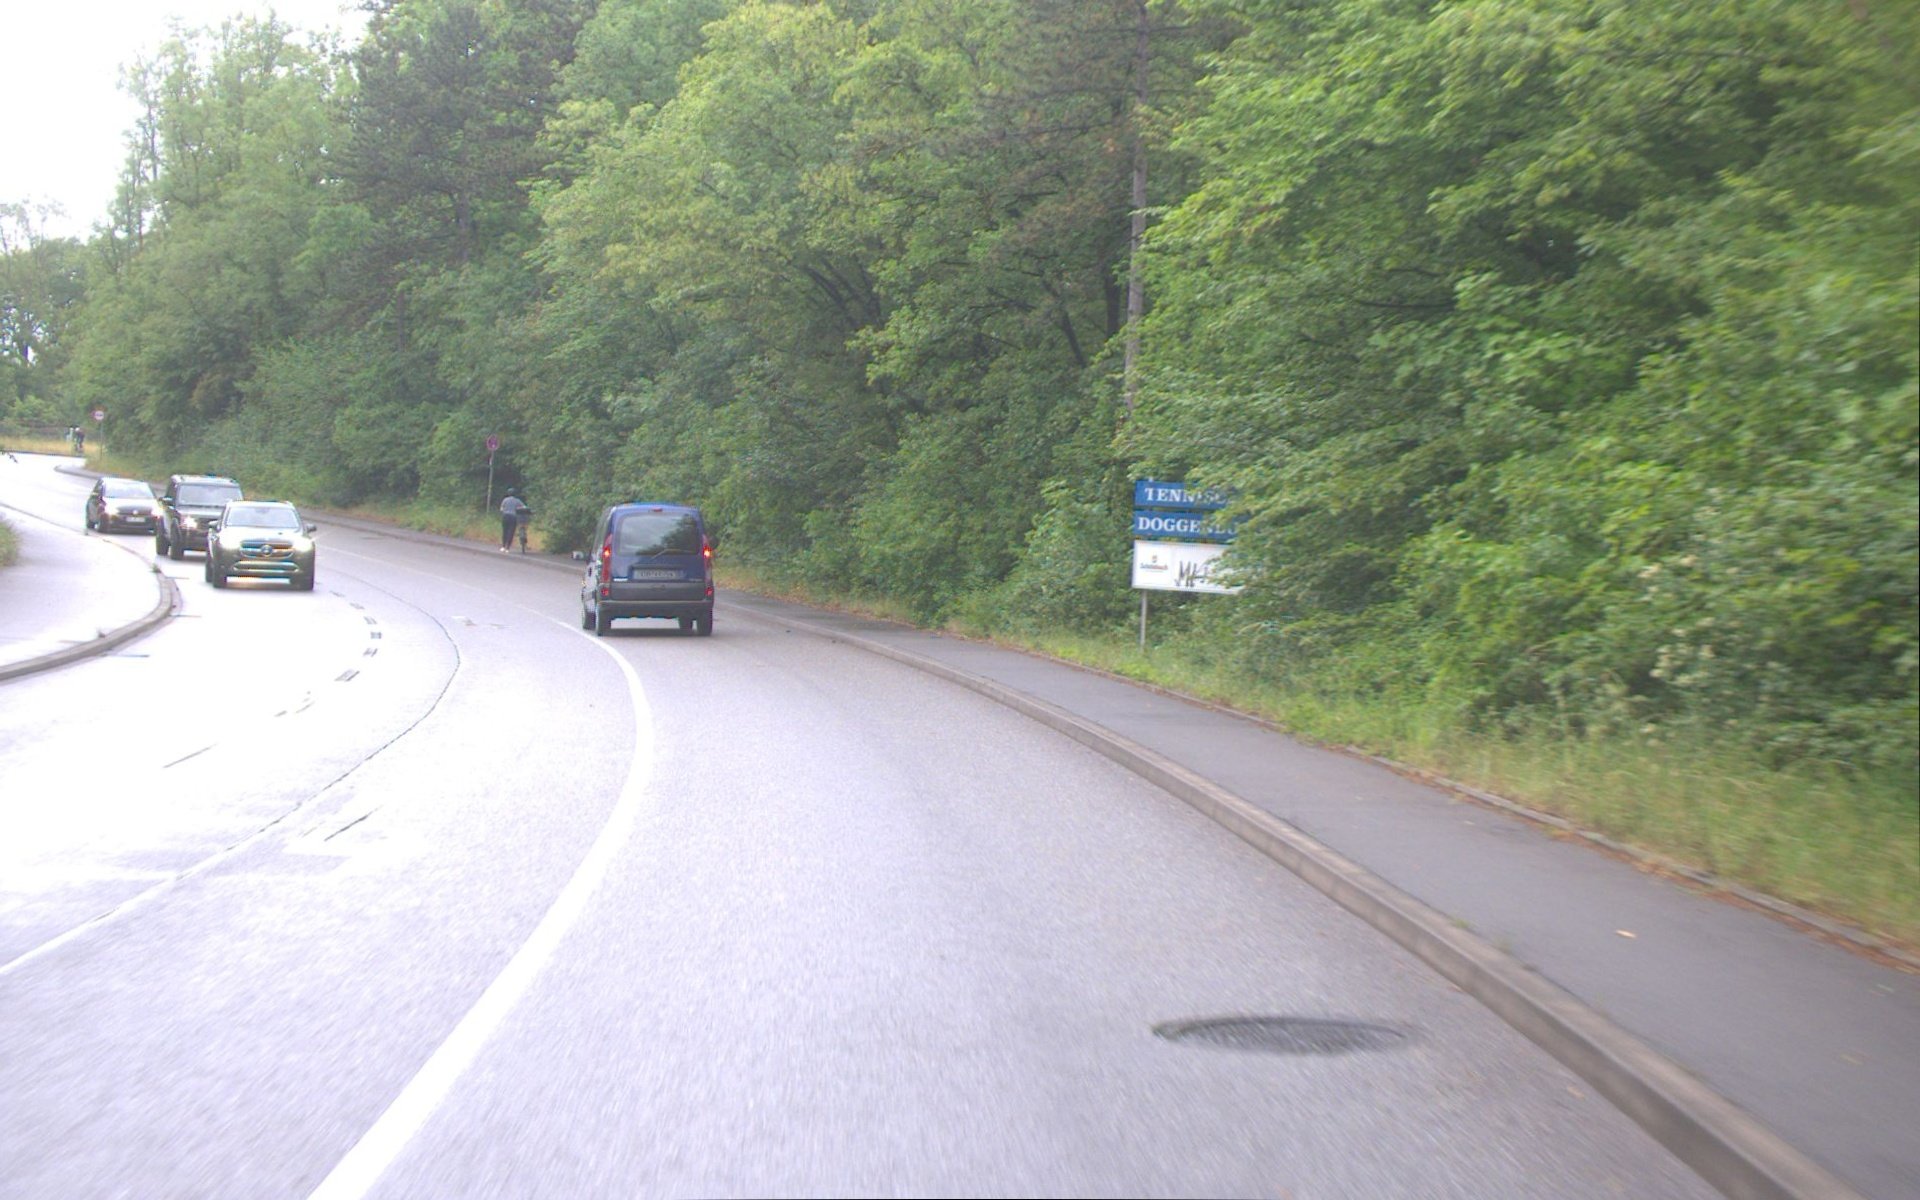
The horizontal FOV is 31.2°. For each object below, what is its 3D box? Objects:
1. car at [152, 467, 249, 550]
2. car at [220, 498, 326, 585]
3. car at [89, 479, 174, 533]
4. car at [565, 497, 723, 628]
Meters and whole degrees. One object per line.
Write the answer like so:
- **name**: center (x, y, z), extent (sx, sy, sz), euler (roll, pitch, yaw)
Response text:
- **car**: center (-17.817, -2.111, 80.499), extent (1.826, 1.837, 4.712), euler (-1, 1, -17)
- **car**: center (-13.364, -1.161, 66.713), extent (1.808, 1.589, 4.519), euler (1, 1, -14)
- **car**: center (-23.194, -2.632, 96.141), extent (1.826, 1.435, 4.001), euler (1, 1, -20)
- **car**: center (-4.550, -0.571, 49.012), extent (1.826, 1.787, 4.001), euler (0, 2, -11)
